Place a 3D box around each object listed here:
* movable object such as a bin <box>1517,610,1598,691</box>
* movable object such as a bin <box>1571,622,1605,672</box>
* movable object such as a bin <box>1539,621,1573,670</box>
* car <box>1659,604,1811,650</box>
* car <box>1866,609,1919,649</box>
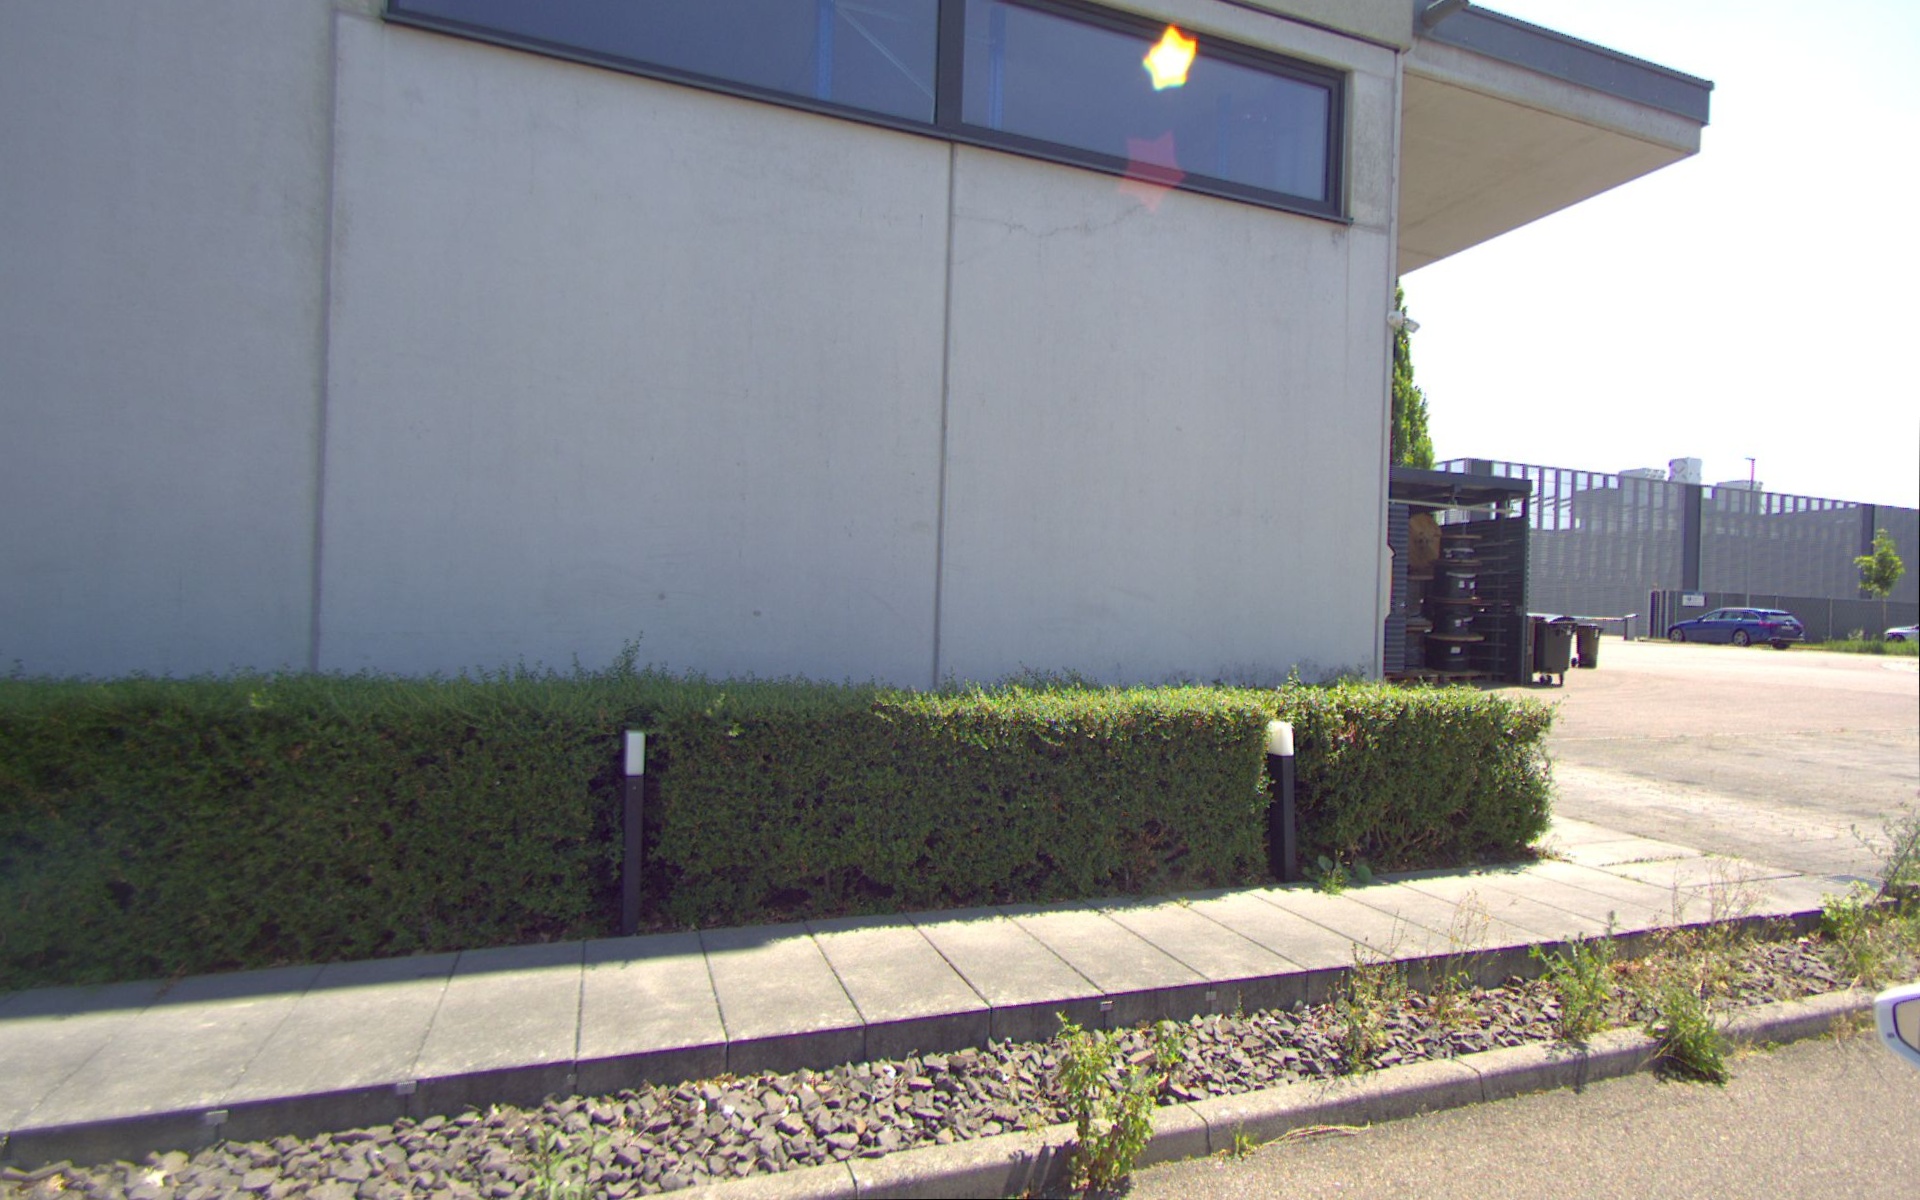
[{"bbox_3d":[10.463,0.872,17.605,0.869,1.362,0.811,2,0,-15],"label":"movable object such as a bin"},{"bbox_3d":[13.435,0.996,21.491,0.569,1.050,0.424,2,0,37],"label":"movable object such as a bin"},{"bbox_3d":[12.970,0.977,21.851,0.572,1.041,0.424,2,0,37],"label":"movable object such as a bin"},{"bbox_3d":[29.096,0.972,37.934,1.962,1.512,4.510,1,1,-6],"label":"car"},{"bbox_3d":[38.840,1.184,39.387,1.962,1.512,4.849,1,1,-6],"label":"car"}]
